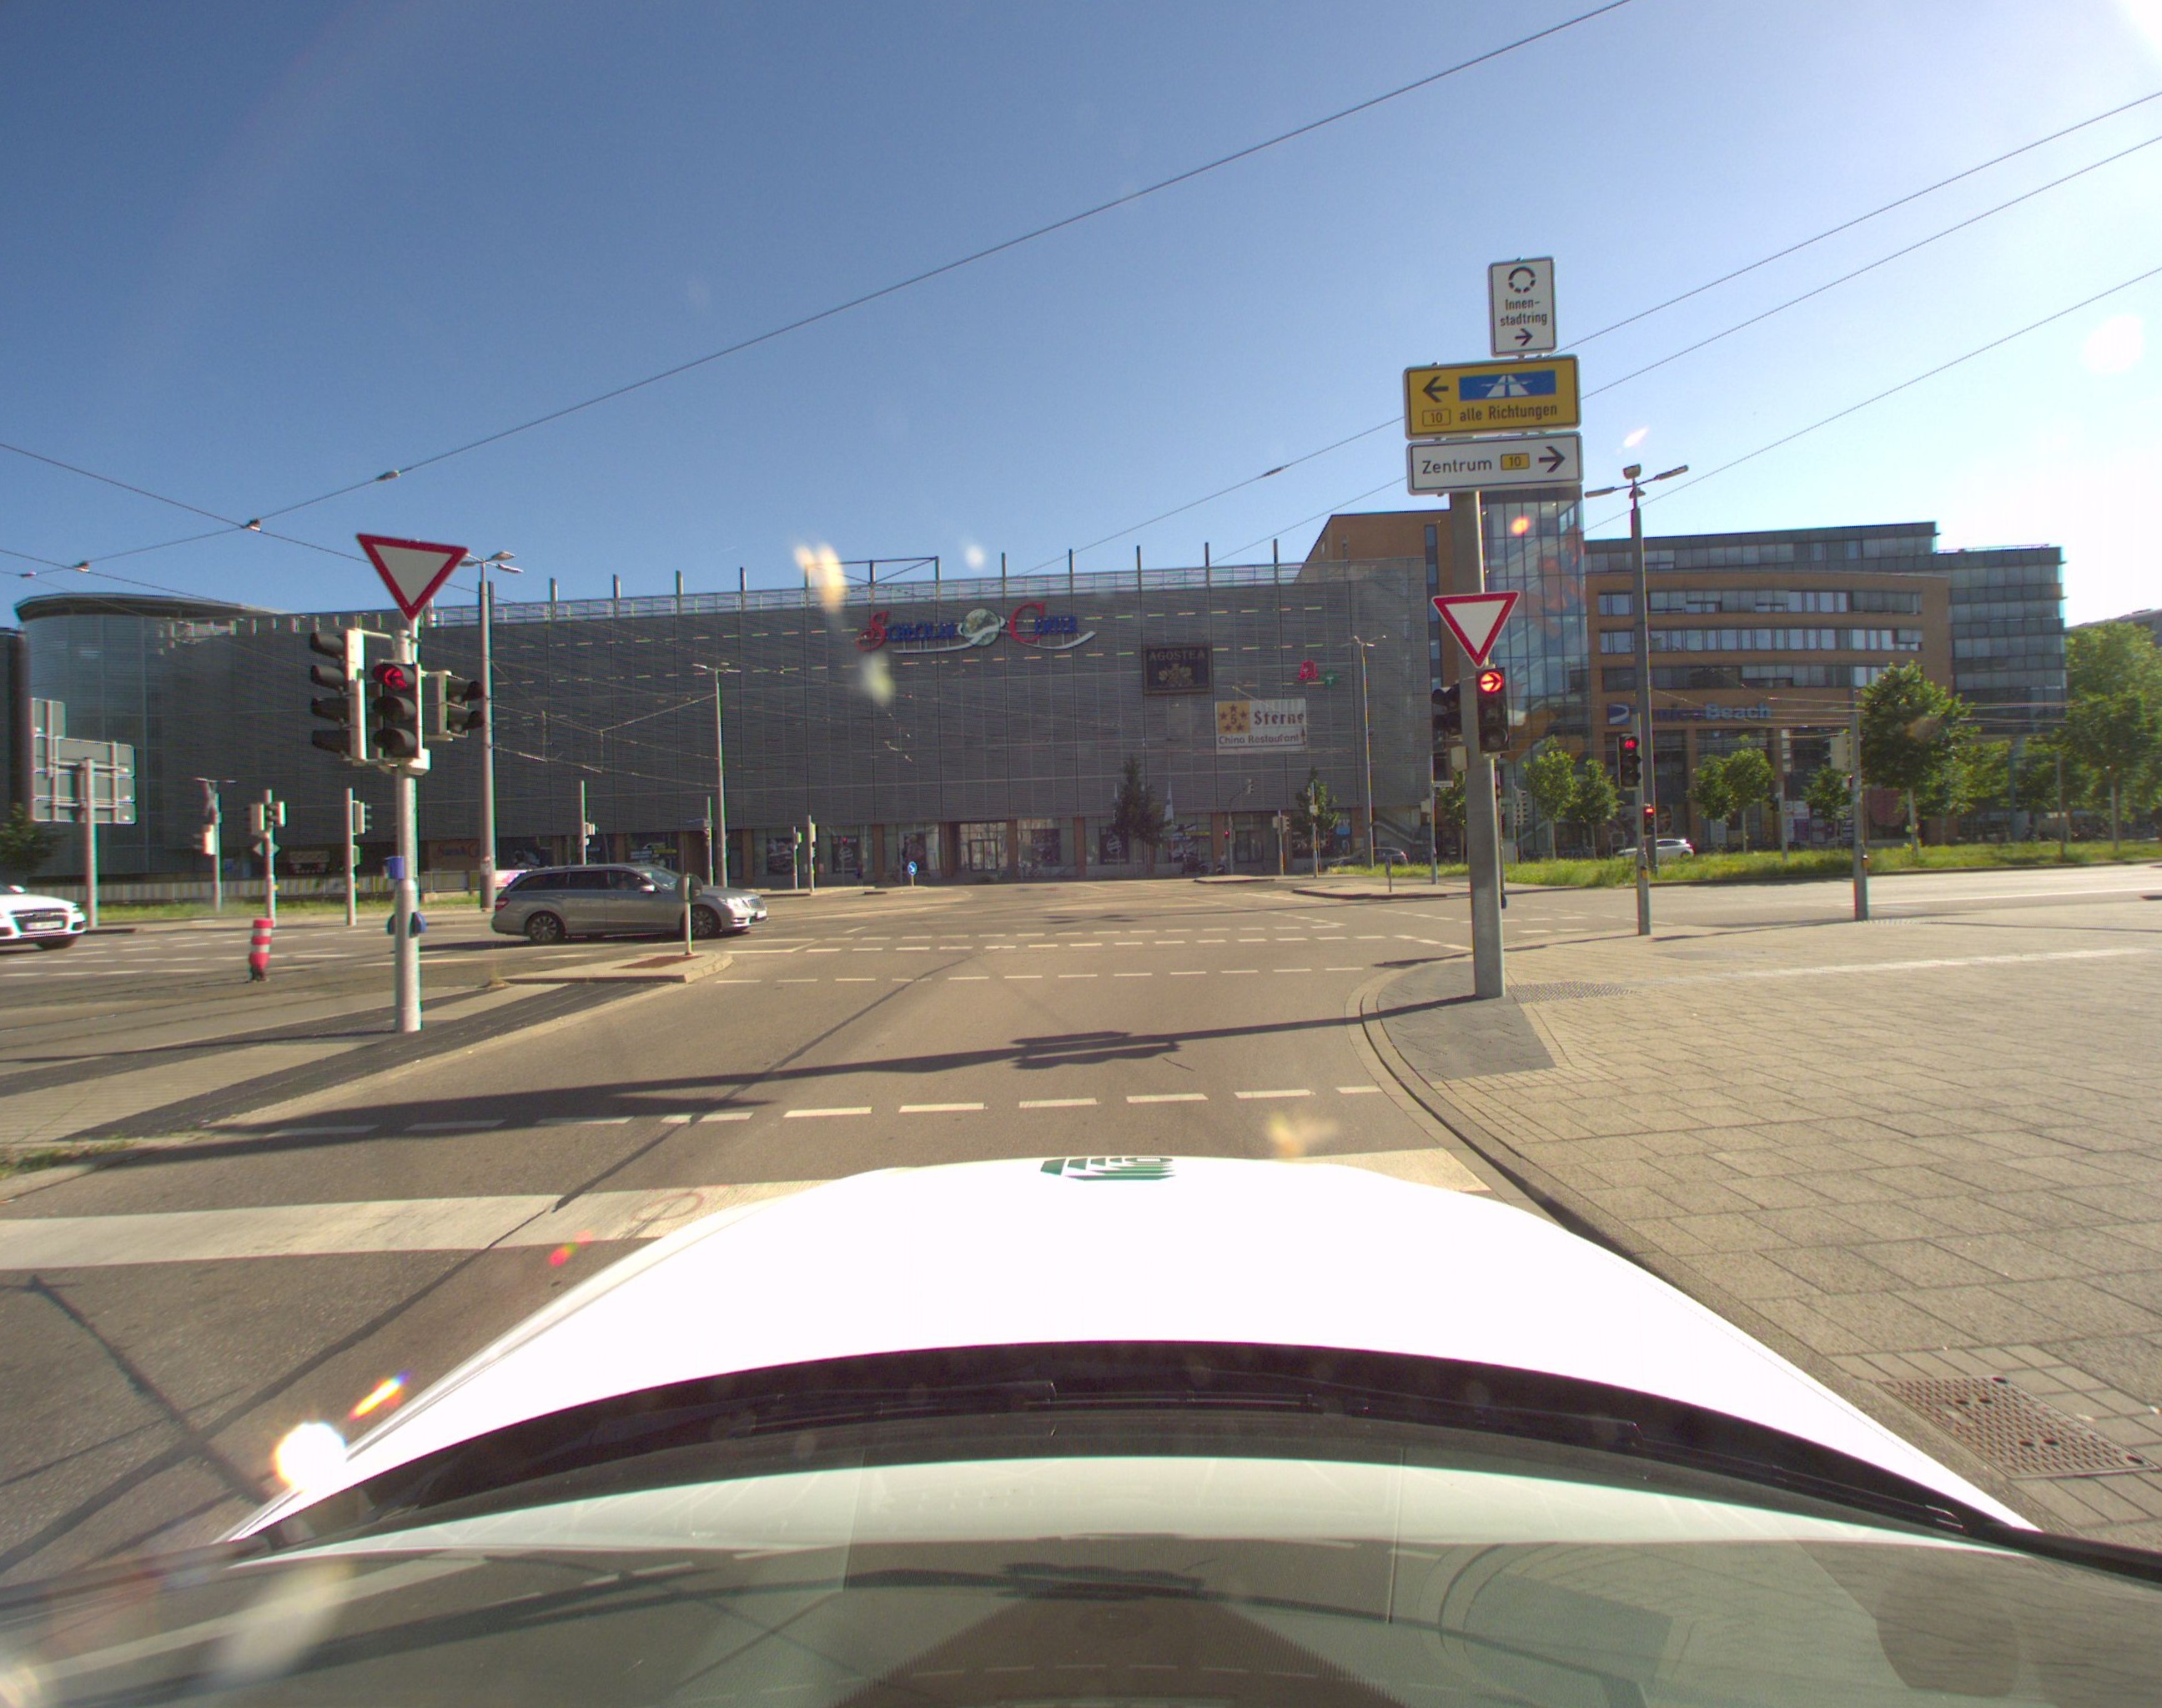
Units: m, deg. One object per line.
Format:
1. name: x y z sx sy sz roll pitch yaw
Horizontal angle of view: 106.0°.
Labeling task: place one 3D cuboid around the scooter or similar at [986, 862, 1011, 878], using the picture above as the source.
1. scooter or similar: -6.186 1.198 61.234 1.790 1.066 0.611 -2 1 -6

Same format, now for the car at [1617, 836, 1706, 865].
1. car: 35.459 -0.192 49.822 4.281 1.645 1.838 2 -1 -5

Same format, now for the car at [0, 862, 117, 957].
1. car: -21.913 1.106 15.601 4.649 1.707 1.939 -2 0 3

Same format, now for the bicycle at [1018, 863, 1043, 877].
1. bicycle: -3.783 1.169 60.793 1.815 0.989 0.556 -2 1 -8

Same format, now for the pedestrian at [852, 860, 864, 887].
1. pedestrian: -15.205 1.305 55.465 0.695 1.797 0.727 -3 0 -14

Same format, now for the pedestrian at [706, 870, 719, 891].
1. pedestrian: -28.416 2.051 62.797 0.654 1.601 0.597 -1 -1 20

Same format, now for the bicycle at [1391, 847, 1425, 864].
1. bicycle: 24.341 0.110 60.620 2.247 1.296 0.606 0 -1 0

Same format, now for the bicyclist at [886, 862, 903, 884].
1. bicyclist: -12.631 1.269 55.240 0.667 1.427 0.855 -1 2 45

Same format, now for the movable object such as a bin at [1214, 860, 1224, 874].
1. movable object such as a bin: 9.269 0.879 54.741 0.608 0.904 0.972 -1 -1 12

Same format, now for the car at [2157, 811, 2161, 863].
1. car: 36.094 -0.578 25.215 3.683 1.646 1.644 -1 0 -5

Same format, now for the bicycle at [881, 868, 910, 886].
1. bicycle: -12.588 1.580 55.313 0.562 1.086 1.874 -1 2 45

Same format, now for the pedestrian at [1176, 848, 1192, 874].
1. pedestrian: 7.491 0.497 59.078 1.007 1.828 1.037 -3 0 5

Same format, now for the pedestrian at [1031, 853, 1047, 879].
1. pedestrian: -3.056 0.861 59.831 0.945 1.828 0.848 -3 0 7

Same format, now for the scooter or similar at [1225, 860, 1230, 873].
1. scooter or similar: 9.918 0.867 55.009 0.293 0.873 1.007 -1 -1 12

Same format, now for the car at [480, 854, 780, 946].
1. car: -8.656 0.850 15.939 4.842 1.572 1.706 -2 0 -2

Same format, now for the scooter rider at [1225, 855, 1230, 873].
1. scooter rider: 9.905 0.703 54.951 0.286 1.200 0.387 -1 -1 12

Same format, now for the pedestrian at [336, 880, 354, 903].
1. pedestrian: -53.039 2.720 58.698 0.656 1.601 0.652 0 -1 8

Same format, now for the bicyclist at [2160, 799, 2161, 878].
1. bicyclist: 23.169 -0.299 16.879 0.881 1.707 0.573 0 -1 -5

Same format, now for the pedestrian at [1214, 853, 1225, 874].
1. pedestrian: 9.403 0.628 55.204 0.650 1.414 0.853 -1 -1 12

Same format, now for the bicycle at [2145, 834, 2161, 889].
1. bicycle: 23.318 0.146 16.889 1.897 1.137 0.580 -1 -1 -5

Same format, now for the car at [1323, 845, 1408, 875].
1. car: 15.880 0.348 45.621 4.132 1.470 1.841 2 -1 0

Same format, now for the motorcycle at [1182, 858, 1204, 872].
1. motorcycle: 8.310 0.827 60.598 1.630 1.004 0.448 0 0 8
